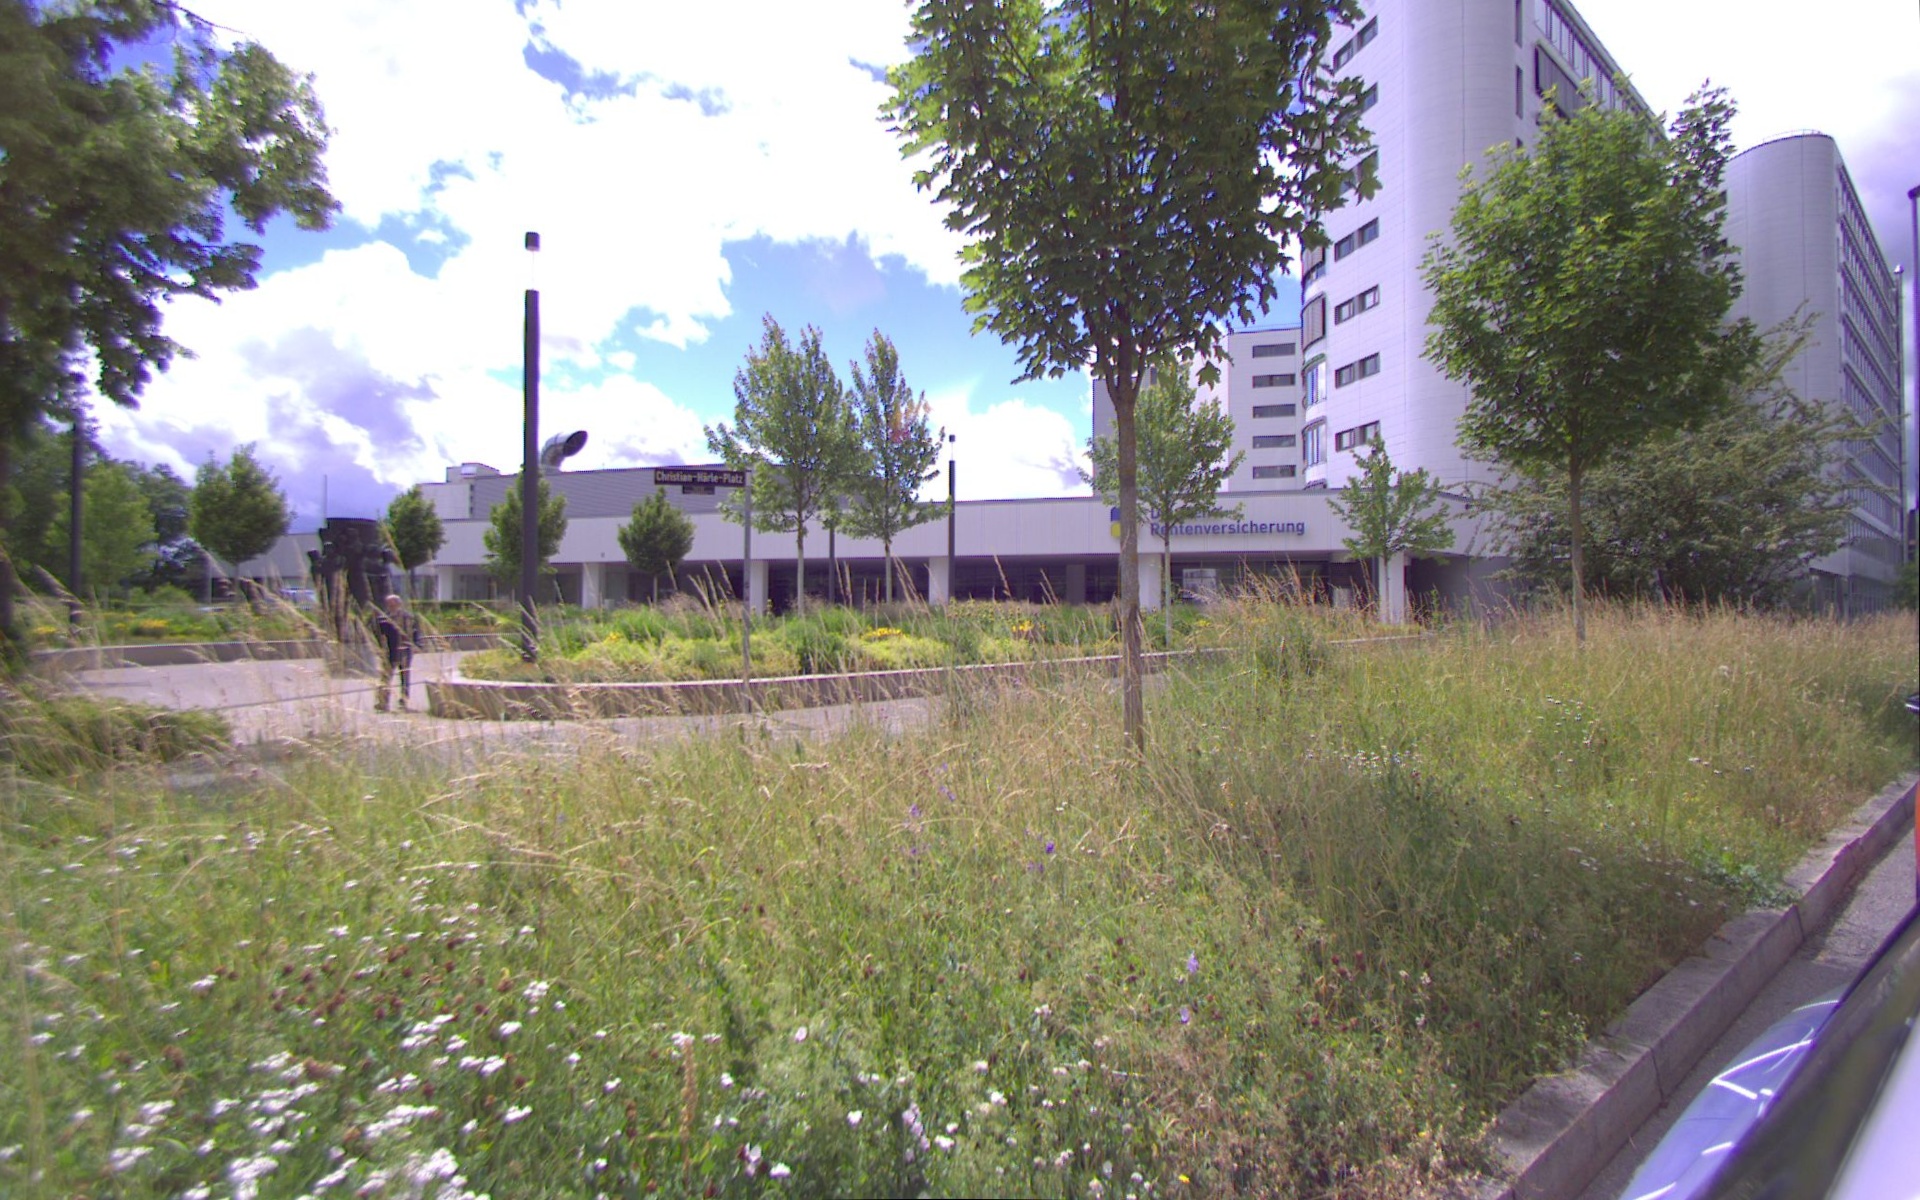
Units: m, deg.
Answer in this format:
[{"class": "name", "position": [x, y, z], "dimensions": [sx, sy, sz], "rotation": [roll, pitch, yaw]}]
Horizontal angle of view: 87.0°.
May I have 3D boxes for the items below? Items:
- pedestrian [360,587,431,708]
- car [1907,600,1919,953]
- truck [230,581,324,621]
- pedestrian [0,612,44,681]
[{"class": "pedestrian", "position": [-7.917, 0.647, 14.229], "dimensions": [0.756, 1.646, 0.766], "rotation": [1, 0, -21]}, {"class": "car", "position": [5.811, 0.747, 4.638], "dimensions": [3.611, 1.434, 1.748], "rotation": [0, 1, -41]}, {"class": "truck", "position": [-36.141, 0.050, 53.575], "dimensions": [3.941, 2.039, 1.991], "rotation": [1, 0, 14]}, {"class": "pedestrian", "position": [-17.394, 0.854, 18.697], "dimensions": [0.621, 1.238, 0.620], "rotation": [0, 0, -36]}]
